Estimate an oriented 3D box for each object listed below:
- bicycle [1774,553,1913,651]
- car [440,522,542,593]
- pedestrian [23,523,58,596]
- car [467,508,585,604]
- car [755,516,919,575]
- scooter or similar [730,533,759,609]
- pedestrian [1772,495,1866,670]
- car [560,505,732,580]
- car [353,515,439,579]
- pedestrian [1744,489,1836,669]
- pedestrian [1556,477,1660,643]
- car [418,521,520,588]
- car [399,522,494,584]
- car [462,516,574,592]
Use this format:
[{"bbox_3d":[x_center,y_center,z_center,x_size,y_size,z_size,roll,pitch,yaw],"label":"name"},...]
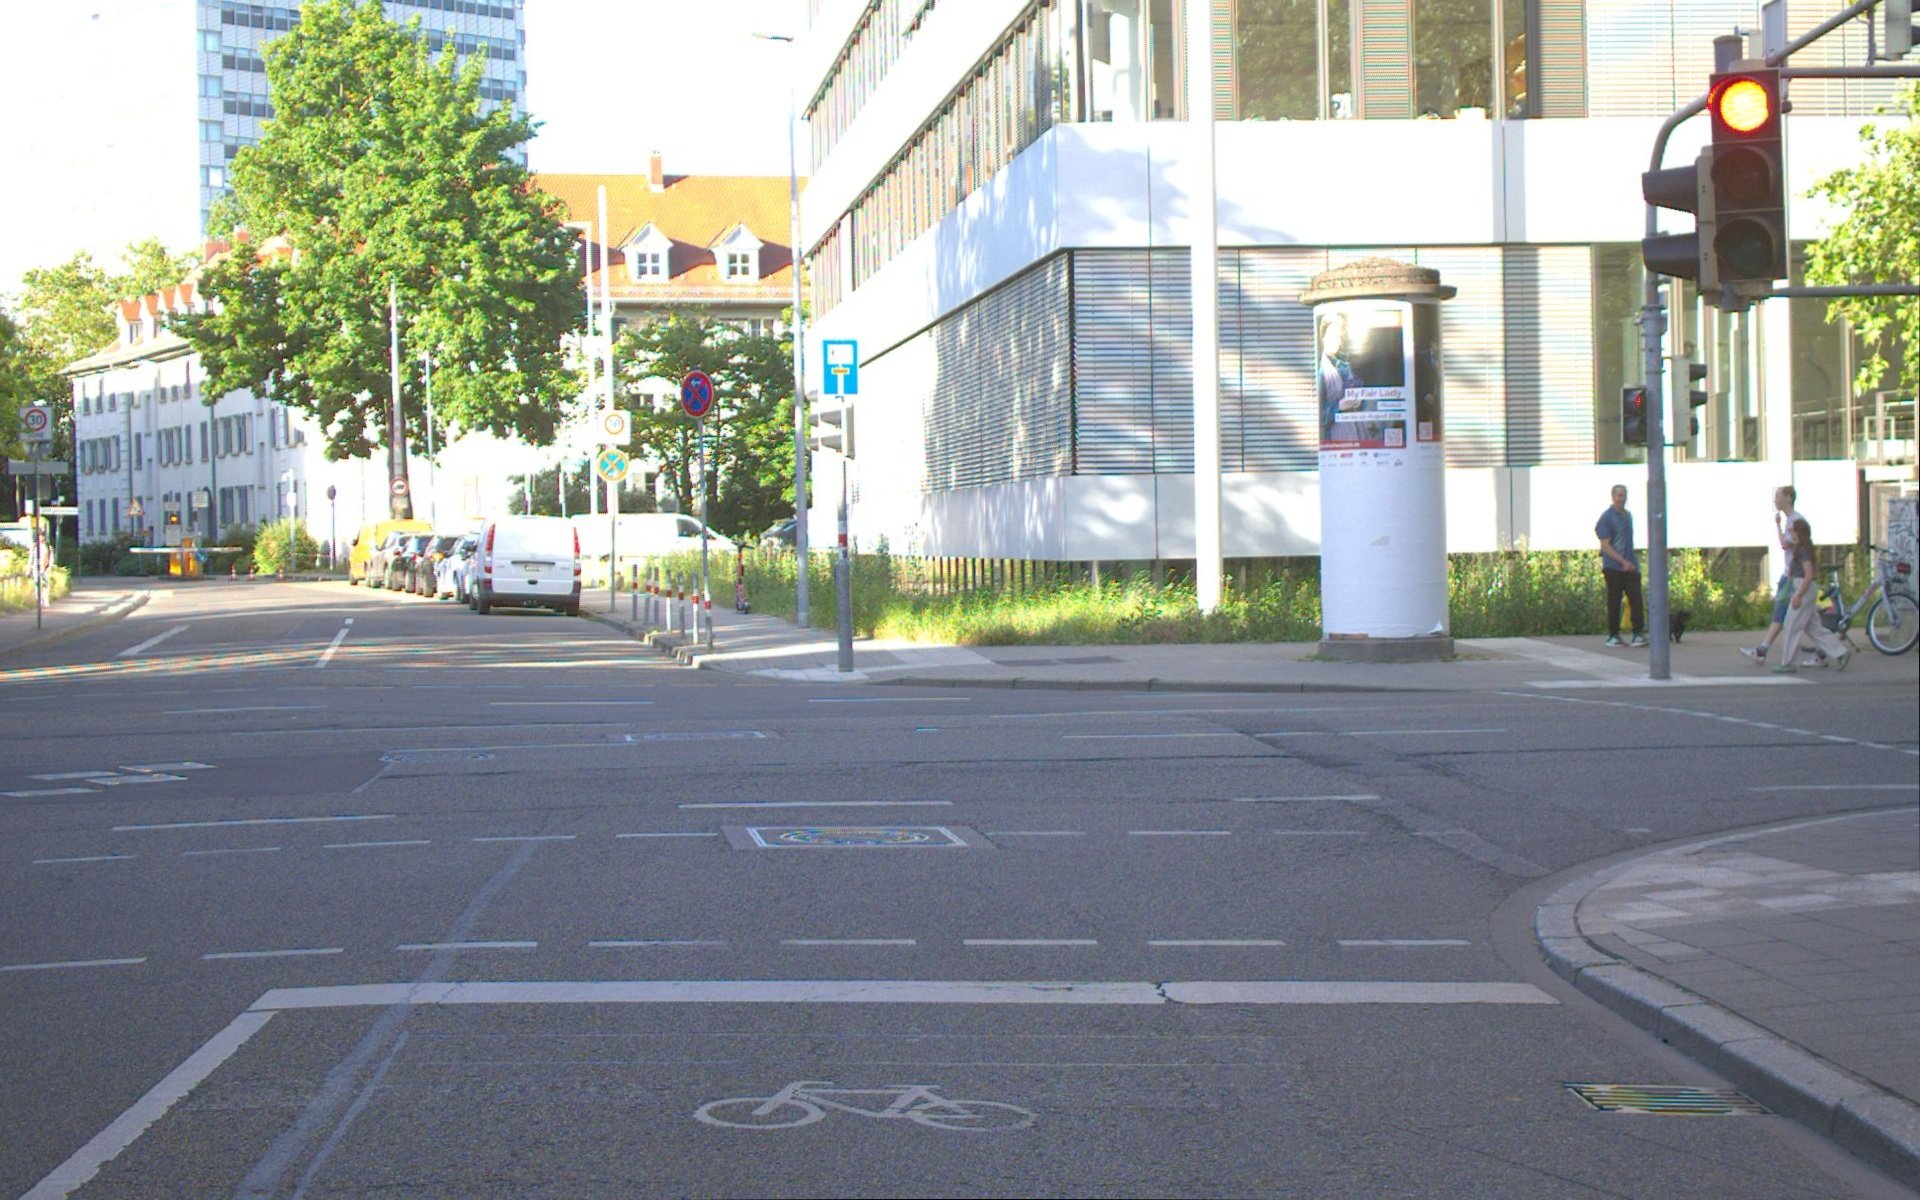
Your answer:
[{"bbox_3d":[9.286,0.015,36.156,0.378,1.005,1.432,-2,2,-42],"label":"bicycle"},{"bbox_3d":[-10.506,-0.947,76.814,1.993,1.493,4.653,1,1,-11],"label":"car"},{"bbox_3d":[-20.133,-0.886,75.264,0.699,1.581,0.637,1,0,-16],"label":"pedestrian"},{"bbox_3d":[-8.220,-0.826,64.829,1.993,1.719,4.653,1,1,-10],"label":"car"},{"bbox_3d":[-3.758,-1.647,104.781,4.635,1.719,2.001,1,1,-16],"label":"car"},{"bbox_3d":[-3.659,-0.500,58.298,0.437,1.252,1.420,-1,1,-4],"label":"scooter or similar"},{"bbox_3d":[8.523,-0.178,34.141,0.765,1.713,0.648,1,0,2],"label":"pedestrian"},{"bbox_3d":[-9.405,-1.719,102.937,4.791,2.151,2.001,1,0,-17],"label":"car"},{"bbox_3d":[-15.741,-1.466,95.840,1.993,1.719,4.653,1,1,-14],"label":"car"},{"bbox_3d":[8.413,-0.215,34.861,0.765,1.789,0.648,1,0,3],"label":"pedestrian"},{"bbox_3d":[7.161,-0.447,37.963,0.915,1.809,0.761,1,0,29],"label":"pedestrian"},{"bbox_3d":[-11.628,-1.073,81.261,1.993,1.493,4.288,1,1,-13],"label":"car"},{"bbox_3d":[-12.881,-1.177,85.985,1.993,1.493,4.653,1,1,-13],"label":"car"},{"bbox_3d":[-9.172,-0.945,71.042,1.993,1.493,4.653,1,1,-11],"label":"car"}]
